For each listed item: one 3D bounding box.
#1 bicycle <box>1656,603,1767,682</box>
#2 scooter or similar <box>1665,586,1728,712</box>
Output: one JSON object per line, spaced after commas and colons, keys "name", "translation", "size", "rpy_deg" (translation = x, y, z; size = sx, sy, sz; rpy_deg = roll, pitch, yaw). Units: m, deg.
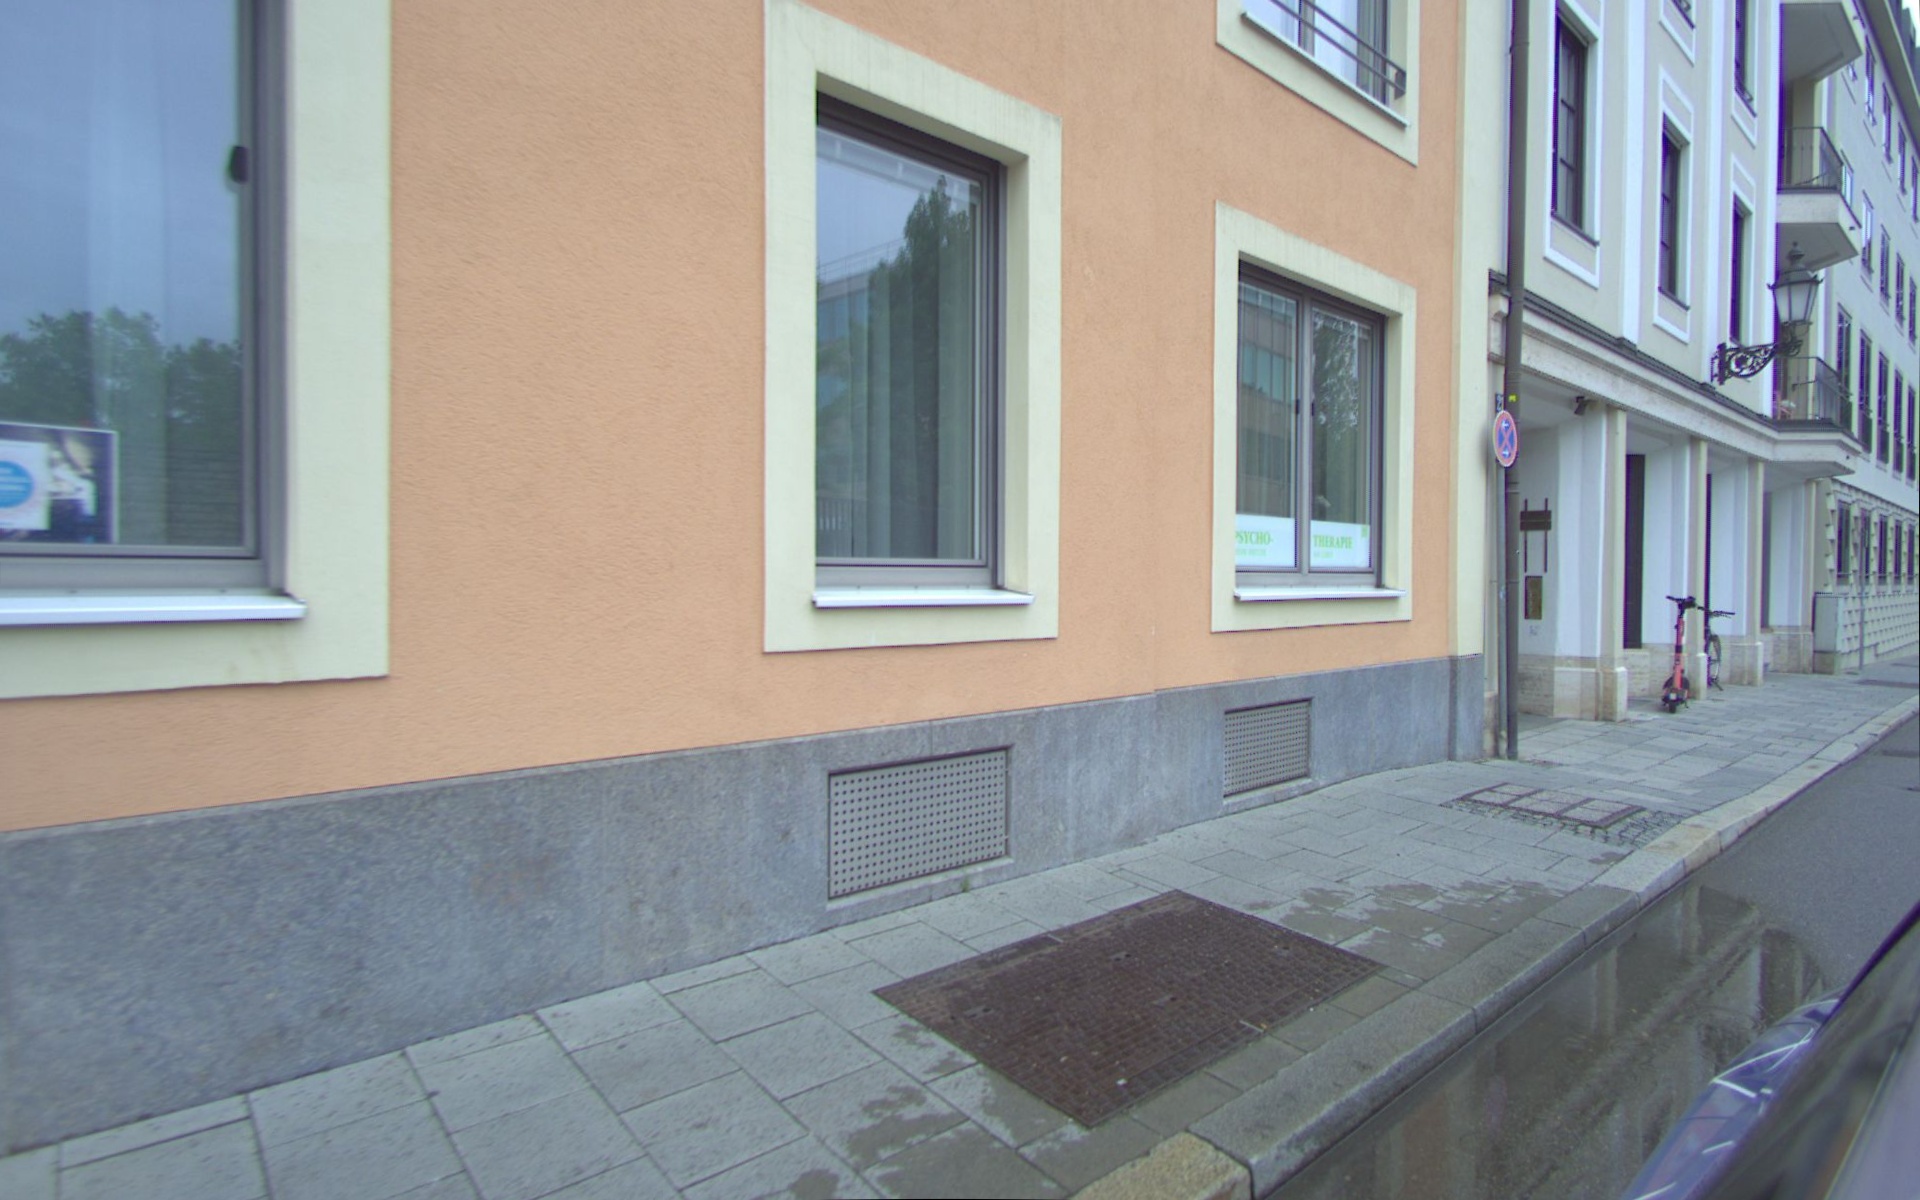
{"name": "bicycle", "translation": [10.415, 0.582, 13.998], "size": [2.037, 1.006, 0.466], "rpy_deg": [2, 1, -31]}
{"name": "scooter or similar", "translation": [8.107, 0.499, 11.176], "size": [0.463, 1.274, 1.261], "rpy_deg": [4, 4, 35]}
